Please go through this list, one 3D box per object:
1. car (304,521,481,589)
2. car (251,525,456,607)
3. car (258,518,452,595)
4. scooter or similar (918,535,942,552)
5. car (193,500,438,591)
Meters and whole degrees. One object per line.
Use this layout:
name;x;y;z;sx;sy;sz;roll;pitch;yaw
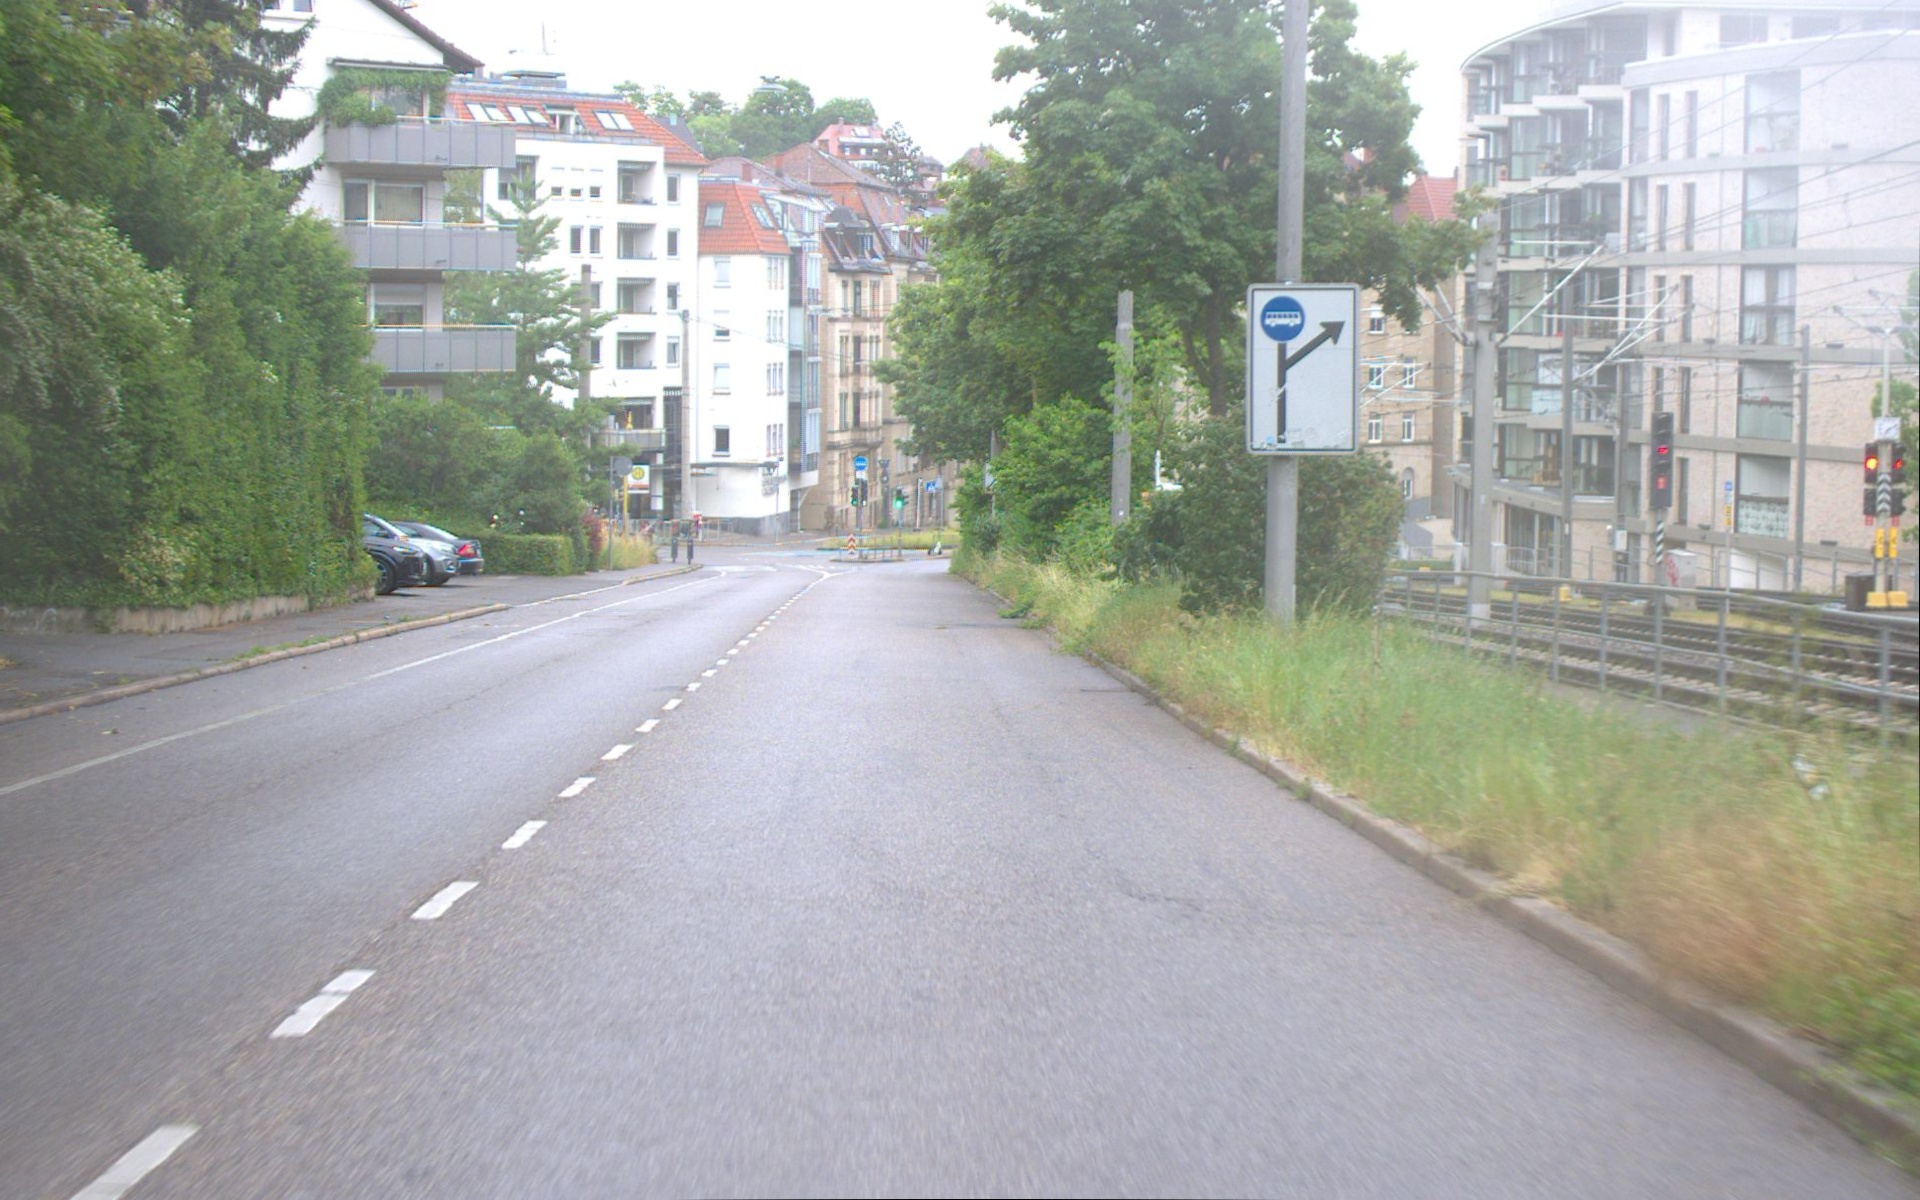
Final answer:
car;-12.713;-1.009;77.123;3.631;1.402;1.783;2;1;1
car;-11.209;-0.623;63.738;3.630;1.400;1.717;2;1;-7
car;-13.141;-0.942;74.814;3.986;1.554;1.881;2;1;-5
scooter or similar;-1.299;-2.481;150.836;0.485;0.759;1.328;1;1;27
car;-12.532;-1.066;67.012;4.448;1.597;1.814;2;2;-2
